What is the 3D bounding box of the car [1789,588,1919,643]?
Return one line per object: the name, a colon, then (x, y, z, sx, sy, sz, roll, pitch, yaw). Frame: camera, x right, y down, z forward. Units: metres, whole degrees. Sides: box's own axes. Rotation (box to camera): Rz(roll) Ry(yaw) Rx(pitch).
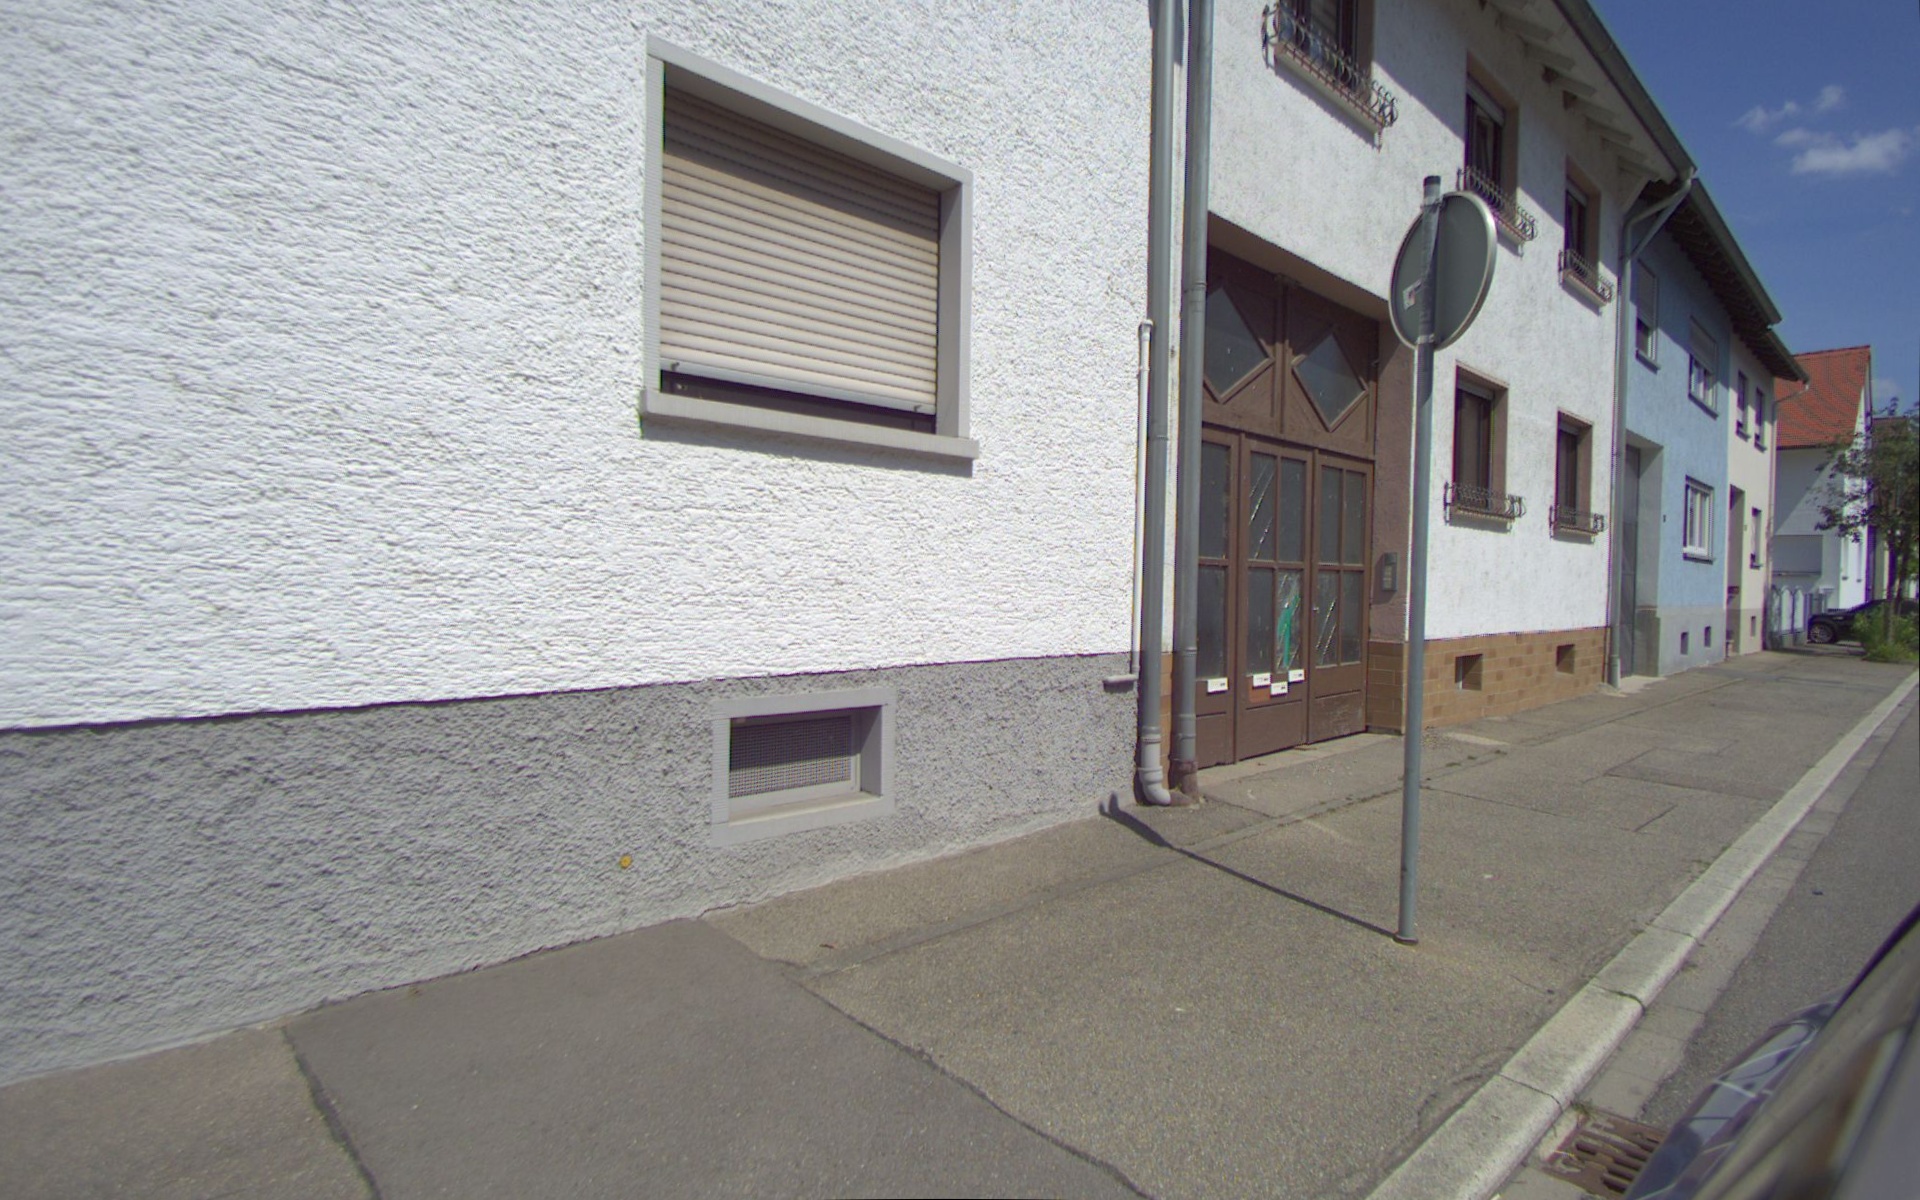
car: (26.397, 0.435, 28.993, 1.696, 1.446, 3.815, 0, 2, -39)
